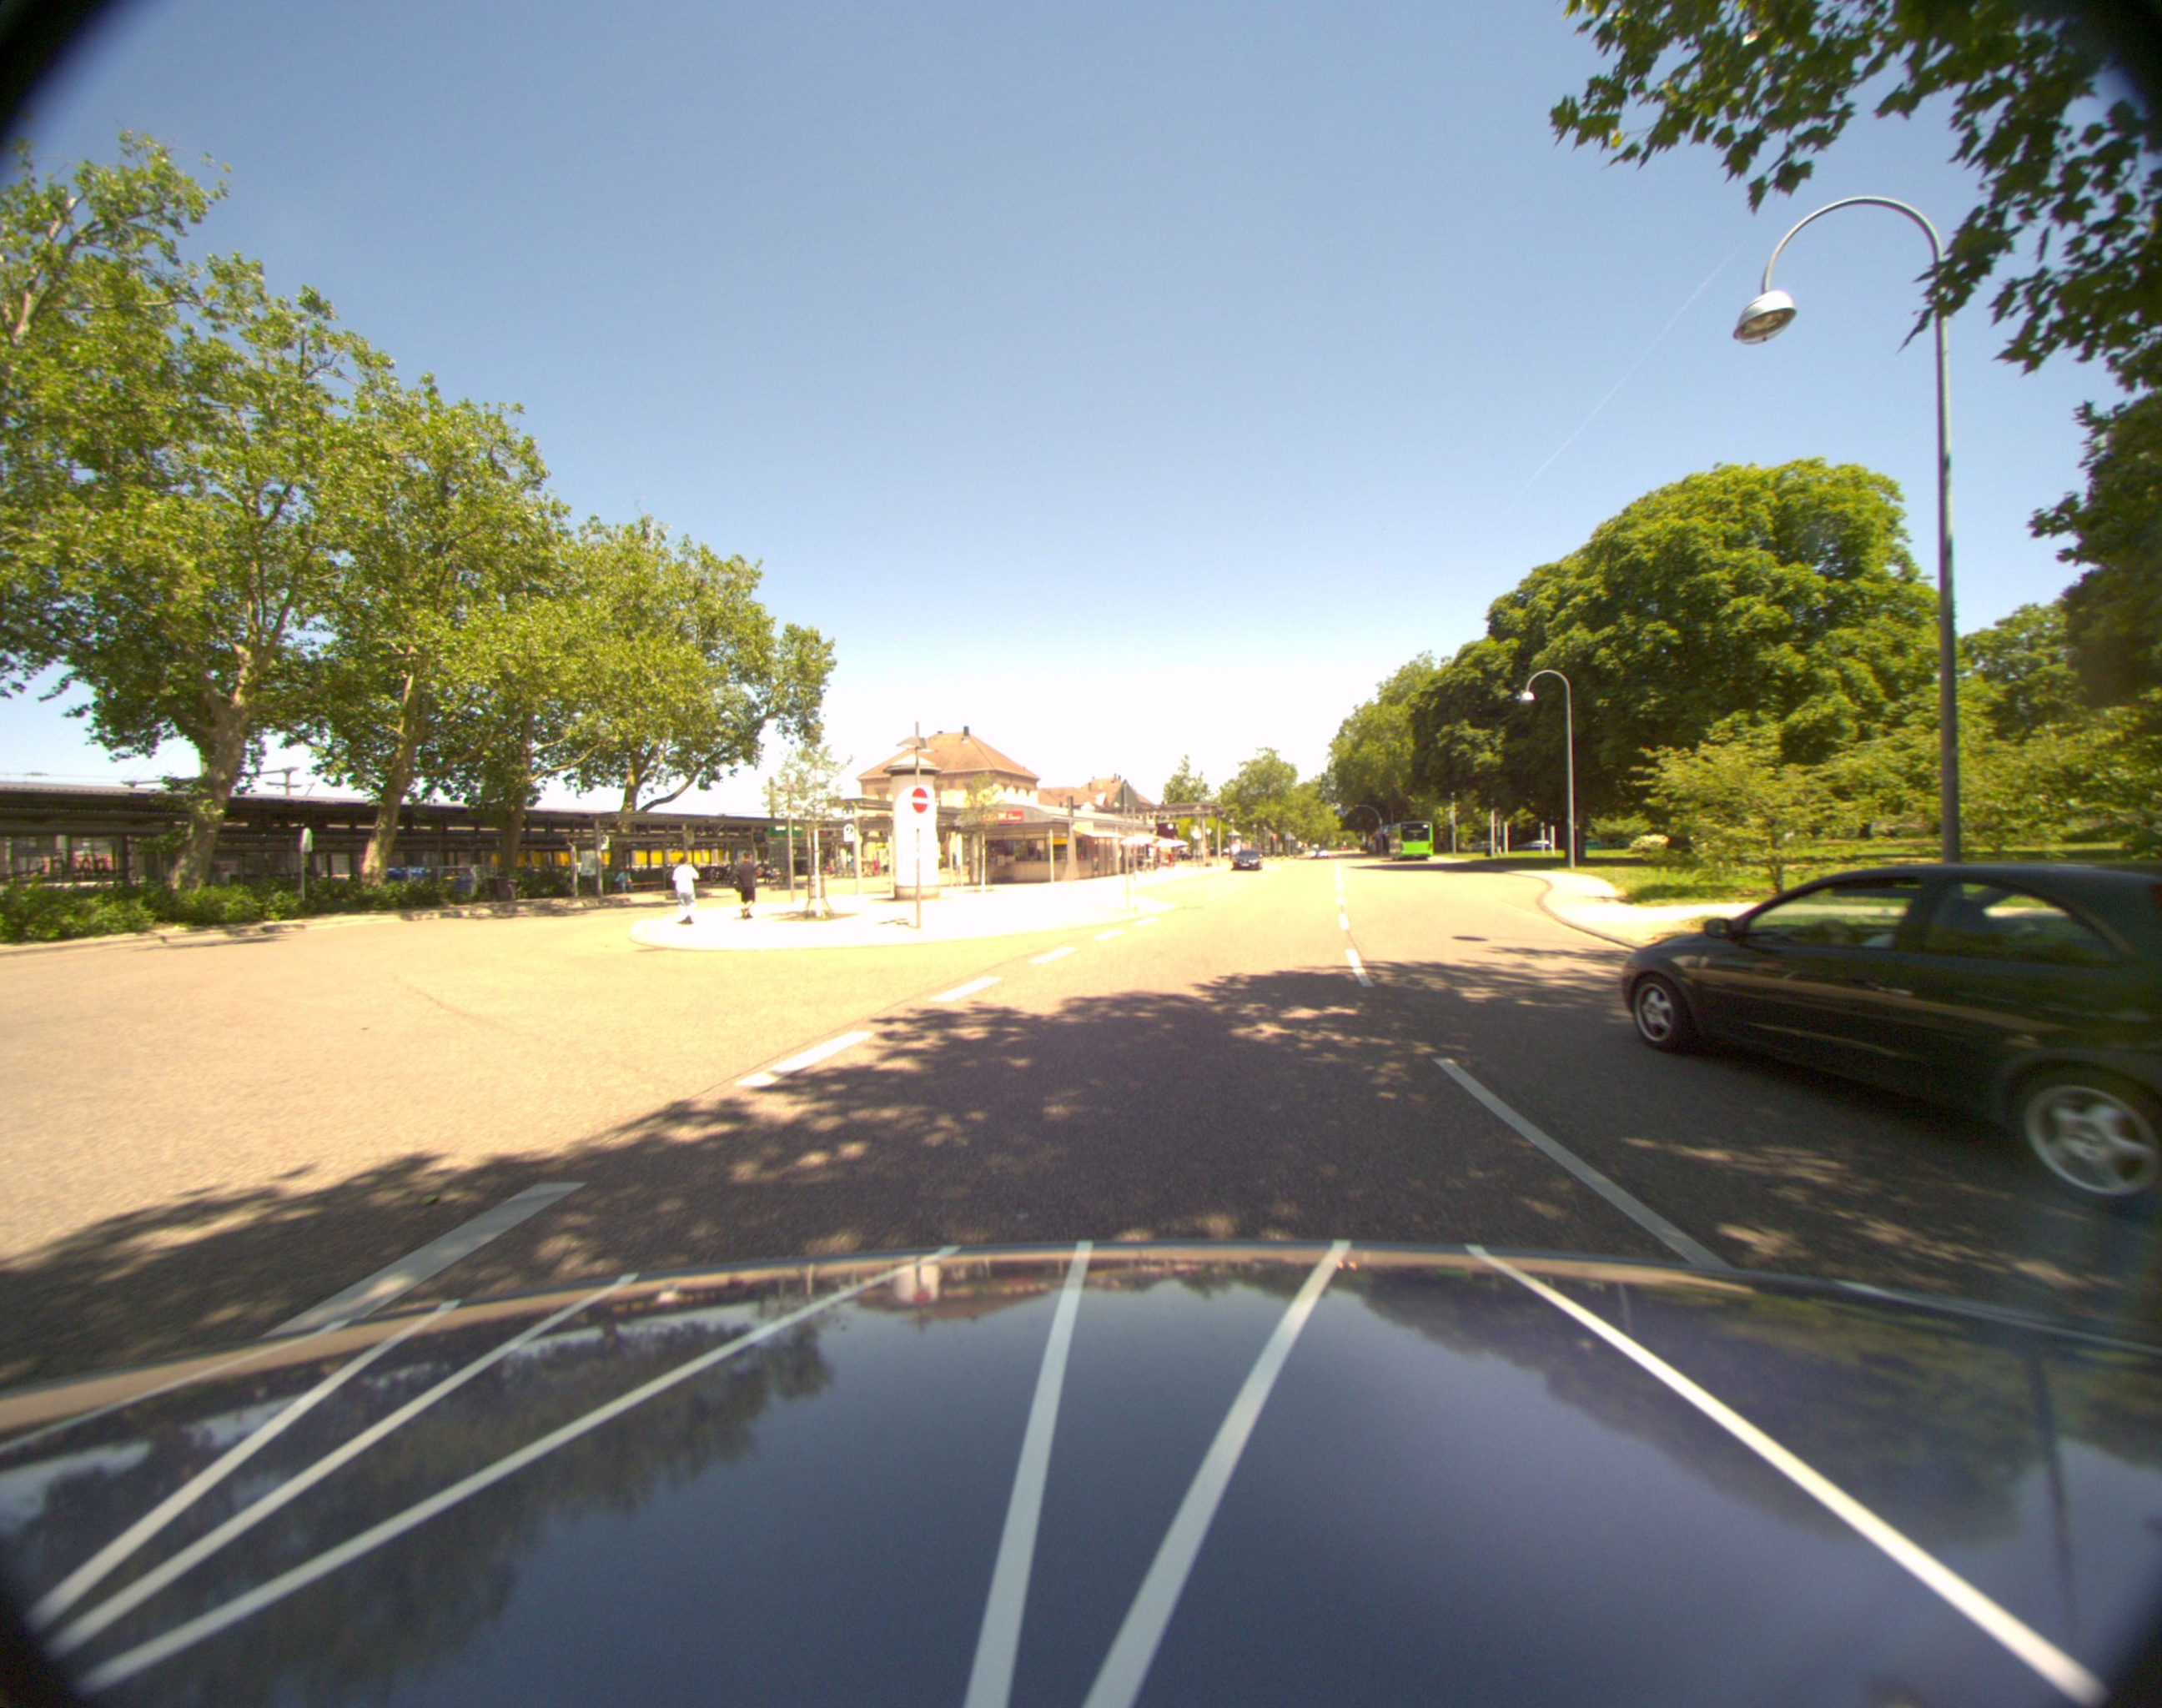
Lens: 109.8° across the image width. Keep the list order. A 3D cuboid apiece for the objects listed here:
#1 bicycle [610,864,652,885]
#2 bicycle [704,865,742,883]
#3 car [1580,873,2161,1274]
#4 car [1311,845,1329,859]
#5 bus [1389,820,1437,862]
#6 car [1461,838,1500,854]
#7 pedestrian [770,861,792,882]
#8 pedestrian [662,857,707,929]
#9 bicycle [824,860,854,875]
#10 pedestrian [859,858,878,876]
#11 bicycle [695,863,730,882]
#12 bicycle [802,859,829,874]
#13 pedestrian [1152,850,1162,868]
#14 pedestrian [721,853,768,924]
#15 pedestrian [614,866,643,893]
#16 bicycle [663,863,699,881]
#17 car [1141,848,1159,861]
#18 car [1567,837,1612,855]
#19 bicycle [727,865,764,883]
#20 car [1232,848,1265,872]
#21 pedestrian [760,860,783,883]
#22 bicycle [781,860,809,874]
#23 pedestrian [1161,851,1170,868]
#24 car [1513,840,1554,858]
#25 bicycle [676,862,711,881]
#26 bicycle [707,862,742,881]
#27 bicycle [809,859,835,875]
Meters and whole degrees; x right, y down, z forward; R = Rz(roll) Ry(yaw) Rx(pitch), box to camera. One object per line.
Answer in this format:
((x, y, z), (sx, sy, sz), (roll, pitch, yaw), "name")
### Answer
((-27.503, 1.262, 46.467), (0.669, 1.068, 2.172), (1, 4, 23), "bicycle")
((-21.943, 1.212, 46.569), (2.165, 1.068, 0.671), (0, 4, 16), "bicycle")
((4.909, 0.858, 4.321), (1.644, 1.409, 4.001), (0, 0, 2), "car")
((26.704, -0.281, 84.784), (1.775, 1.536, 4.188), (0, 1, 19), "car")
((29.280, -1.143, 67.397), (2.810, 3.283, 11.872), (-2, 0, 18), "bus")
((49.805, -0.967, 94.810), (3.991, 1.793, 2.003), (-2, 1, 22), "car")
((-18.874, 1.106, 47.815), (0.961, 1.297, 0.832), (-1, 1, 20), "pedestrian")
((-9.939, 0.966, 19.086), (0.916, 1.726, 0.674), (-2, 1, -26), "pedestrian")
((-18.422, 1.016, 57.798), (2.164, 1.068, 0.671), (1, 5, 23), "bicycle")
((-15.818, 0.980, 56.574), (0.961, 1.297, 0.832), (-1, 1, 20), "pedestrian")
((-24.738, 1.211, 51.095), (0.669, 1.068, 2.172), (1, 4, 23), "bicycle")
((-21.162, 0.992, 60.650), (0.669, 1.068, 2.172), (1, 4, 23), "bicycle")
((5.386, 0.344, 53.874), (0.489, 1.204, 0.473), (-1, 1, 25), "pedestrian")
((-8.712, 0.880, 19.663), (0.917, 1.775, 0.693), (-2, 1, -38), "pedestrian")
((-22.348, 1.241, 37.510), (0.829, 1.267, 0.869), (-1, 1, 15), "pedestrian")
((-27.432, 1.232, 52.118), (0.669, 1.068, 2.172), (1, 4, 23), "bicycle")
((11.280, 0.060, 123.761), (1.996, 1.869, 4.005), (-2, 0, 19), "car")
((60.591, -0.953, 90.593), (3.991, 2.002, 2.003), (-2, 1, 19), "car")
((-21.308, 1.257, 48.237), (2.165, 1.068, 0.671), (0, 4, 16), "bicycle")
((11.803, 0.400, 53.337), (1.775, 1.536, 4.188), (0, 1, 19), "car")
((-19.119, 1.081, 46.945), (0.961, 1.378, 0.832), (-1, 1, 20), "pedestrian")
((-22.860, 1.033, 60.684), (2.164, 1.068, 0.671), (1, 5, 23), "bicycle")
((6.004, 0.397, 53.869), (0.503, 1.225, 0.514), (-2, 1, 13), "pedestrian")
((54.976, -0.605, 92.307), (3.991, 2.002, 2.003), (-2, 1, 22), "car")
((-26.334, 1.194, 51.647), (0.669, 1.068, 2.172), (1, 4, 23), "bicycle")
((-23.760, 1.158, 50.673), (0.669, 1.068, 2.172), (1, 4, 23), "bicycle")
((-20.531, 0.993, 60.308), (0.669, 1.068, 2.172), (1, 4, 23), "bicycle")
